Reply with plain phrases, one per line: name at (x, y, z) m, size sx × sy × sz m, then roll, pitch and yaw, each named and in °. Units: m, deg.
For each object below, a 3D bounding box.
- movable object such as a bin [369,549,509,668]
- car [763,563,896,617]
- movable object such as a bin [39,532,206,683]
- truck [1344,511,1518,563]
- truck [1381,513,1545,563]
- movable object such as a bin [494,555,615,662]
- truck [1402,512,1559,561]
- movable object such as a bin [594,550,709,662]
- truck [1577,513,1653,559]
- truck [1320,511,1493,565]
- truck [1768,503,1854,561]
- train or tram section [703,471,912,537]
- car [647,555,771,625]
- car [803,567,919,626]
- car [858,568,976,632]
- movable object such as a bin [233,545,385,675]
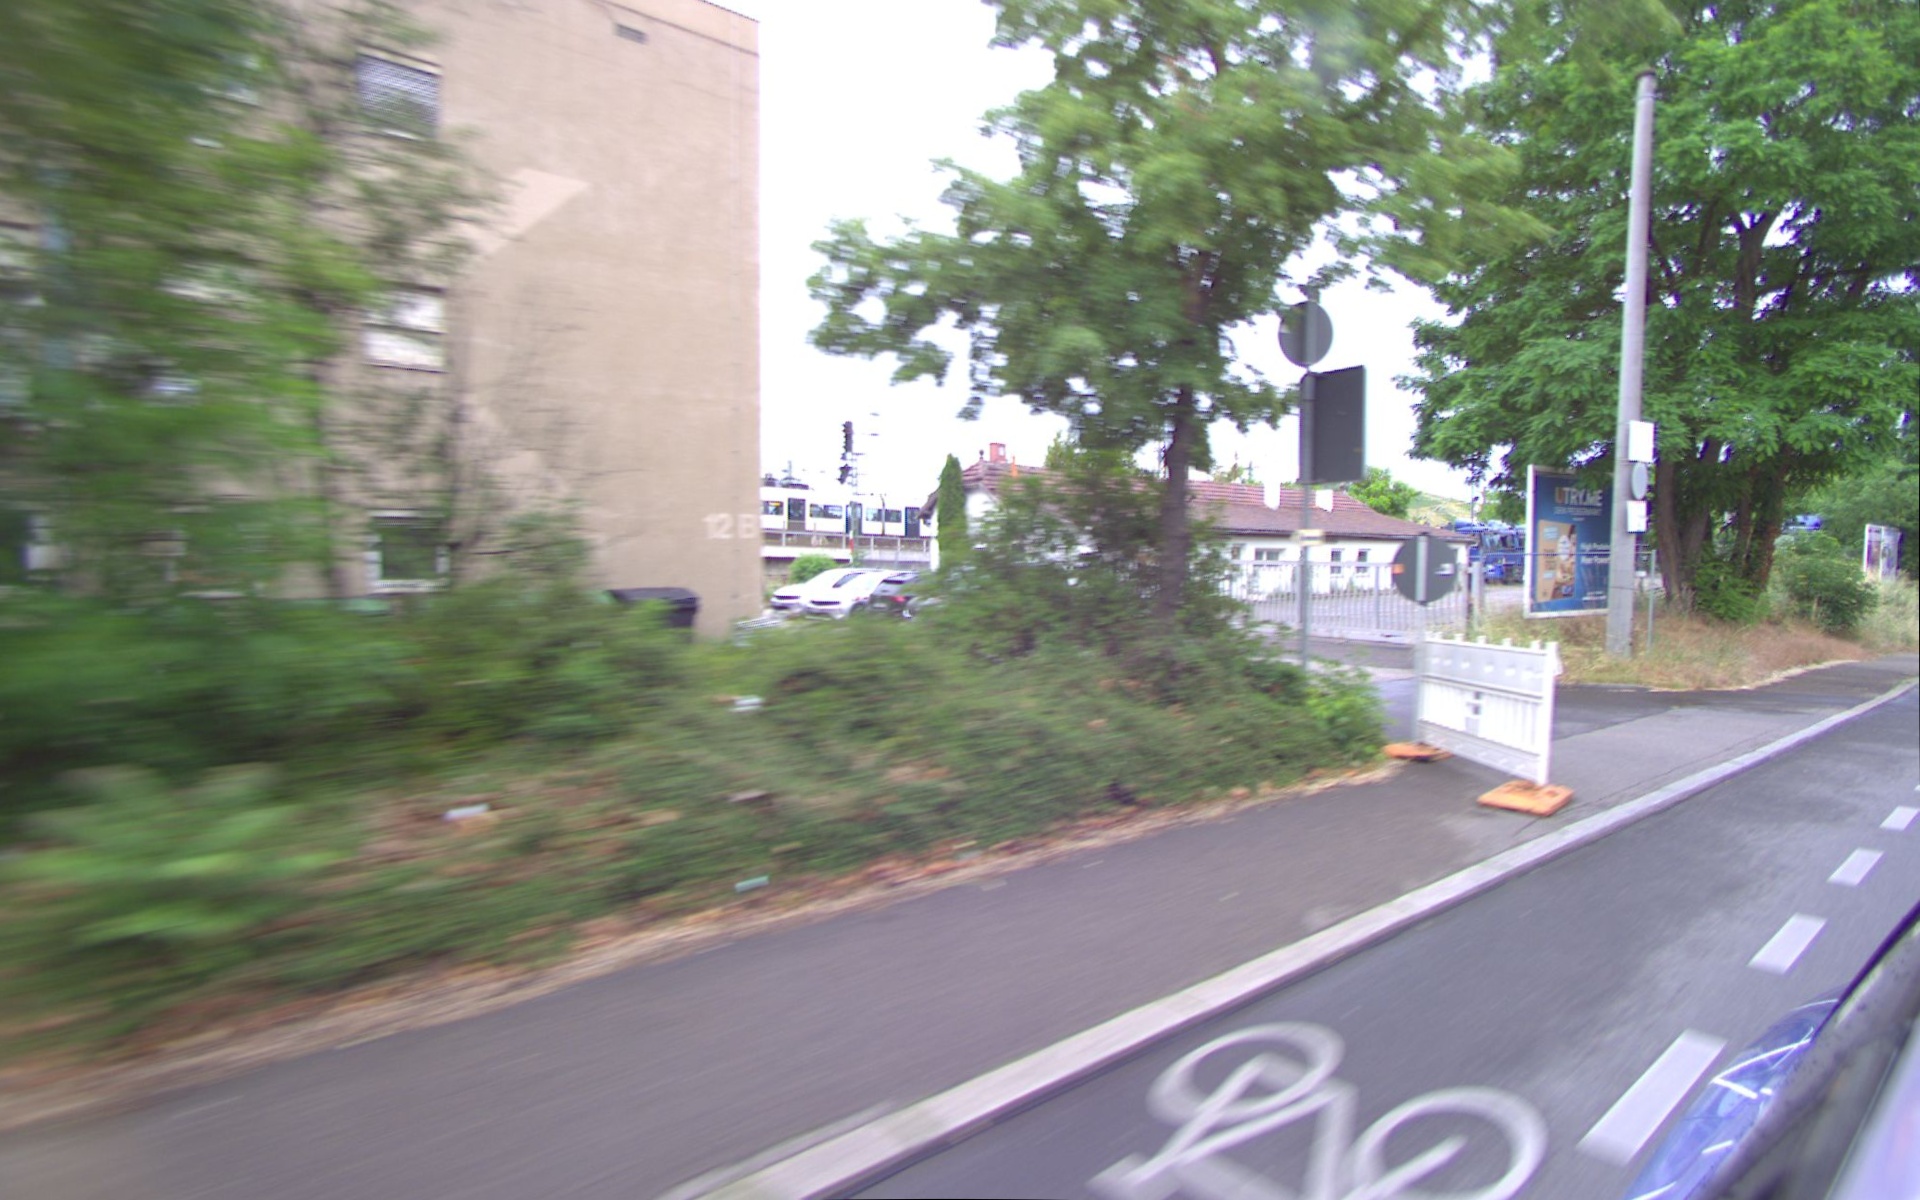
movable object such as a bin at (-6.808, 0.079, 13.218) m, size 1.393 × 1.434 × 1.308 m, roll 0°, pitch 2°, yaw -39°
car at (-3.949, -0.350, 30.999) m, size 3.931 × 1.480 × 1.429 m, roll -3°, pitch 4°, yaw -41°
movable object such as a bin at (-9.090, 0.047, 11.045) m, size 1.332 × 1.432 × 1.276 m, roll 0°, pitch 6°, yaw -39°
truck at (25.603, -3.426, 55.433) m, size 2.543 × 2.648 × 8.311 m, roll -2°, pitch 4°, yaw -42°
truck at (28.785, -3.531, 58.264) m, size 2.543 × 2.687 × 8.104 m, roll -2°, pitch 4°, yaw -42°
movable object such as a bin at (-5.797, 0.093, 14.461) m, size 1.307 × 1.434 × 1.216 m, roll 0°, pitch 2°, yaw -39°
truck at (31.257, -3.773, 61.115) m, size 2.543 × 2.771 × 8.018 m, roll -2°, pitch 4°, yaw -42°
movable object such as a bin at (-4.696, 0.062, 15.380) m, size 1.307 × 1.606 × 1.216 m, roll 0°, pitch 2°, yaw -39°
truck at (49.900, -4.819, 76.961) m, size 9.475 × 3.235 × 2.254 m, roll -2°, pitch 2°, yaw -41°
truck at (23.335, -3.219, 53.323) m, size 2.587 × 2.649 × 8.014 m, roll -2°, pitch 4°, yaw -42°
truck at (44.291, -3.472, 52.630) m, size 5.947 × 2.684 × 2.288 m, roll -2°, pitch -2°, yaw -40°
train or tram section at (-10.645, -6.719, 73.298) m, size 15.614 × 3.870 × 3.284 m, roll -1°, pitch 1°, yaw -40°
car at (-7.250, -0.350, 29.061) m, size 1.727 × 1.845 × 3.992 m, roll 0°, pitch 2°, yaw -43°
car at (-2.783, -0.144, 28.630) m, size 2.900 × 1.494 × 1.560 m, roll -2°, pitch 4°, yaw -41°
car at (-1.129, -0.050, 27.222) m, size 2.965 × 1.548 × 1.417 m, roll -2°, pitch 4°, yaw -41°
movable object such as a bin at (-7.805, 0.081, 12.127) m, size 1.405 × 1.434 × 1.308 m, roll 0°, pitch 2°, yaw -39°
